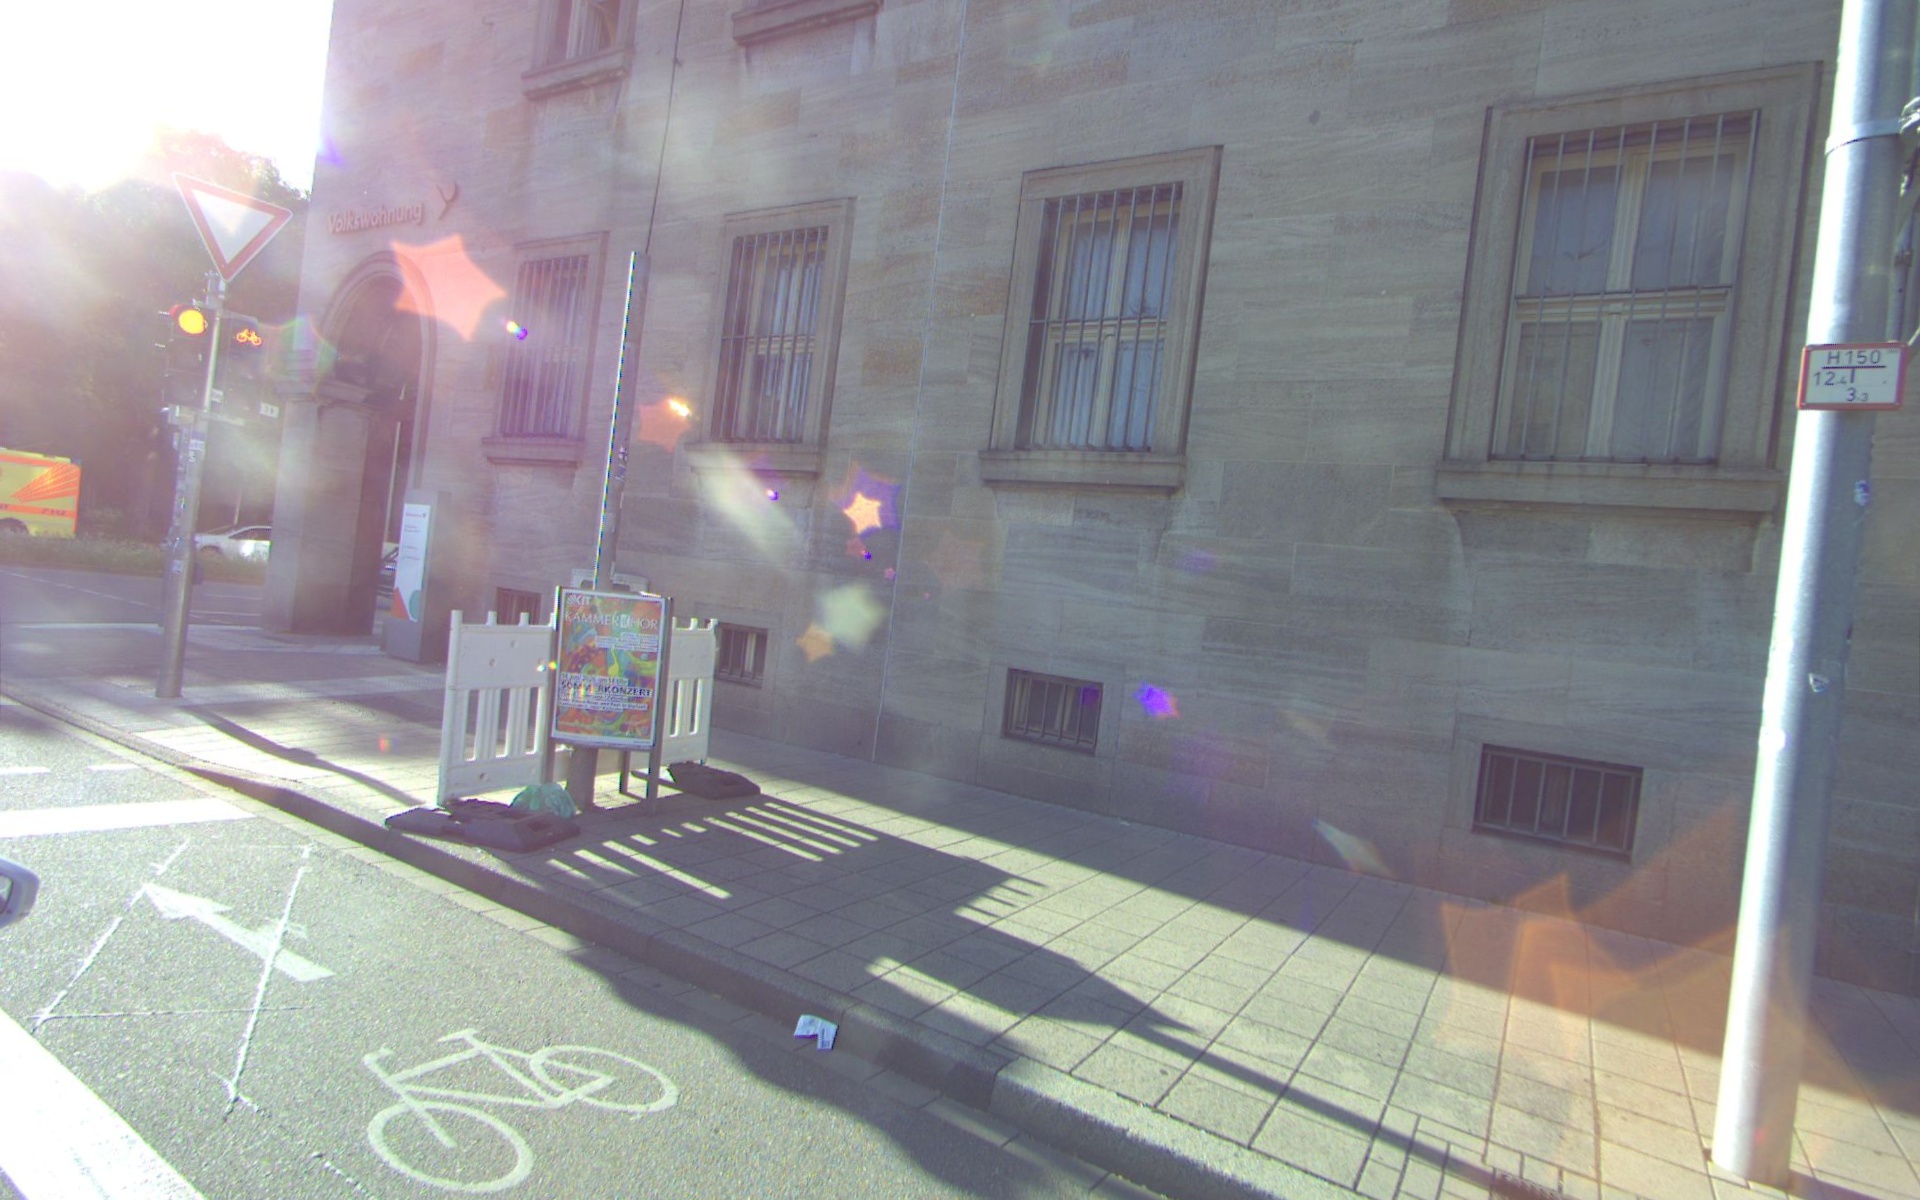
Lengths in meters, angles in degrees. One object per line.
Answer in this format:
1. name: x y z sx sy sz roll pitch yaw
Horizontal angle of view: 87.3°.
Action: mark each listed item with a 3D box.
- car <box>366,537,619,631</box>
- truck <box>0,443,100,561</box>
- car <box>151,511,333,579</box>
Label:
1. car: -10.938 -0.319 23.933 2.175 1.529 4.944 8 0 35
2. truck: -28.644 -3.085 27.980 2.680 3.052 6.477 7 -1 32
3. car: -21.340 -1.596 30.084 1.604 1.451 4.049 6 -1 30
